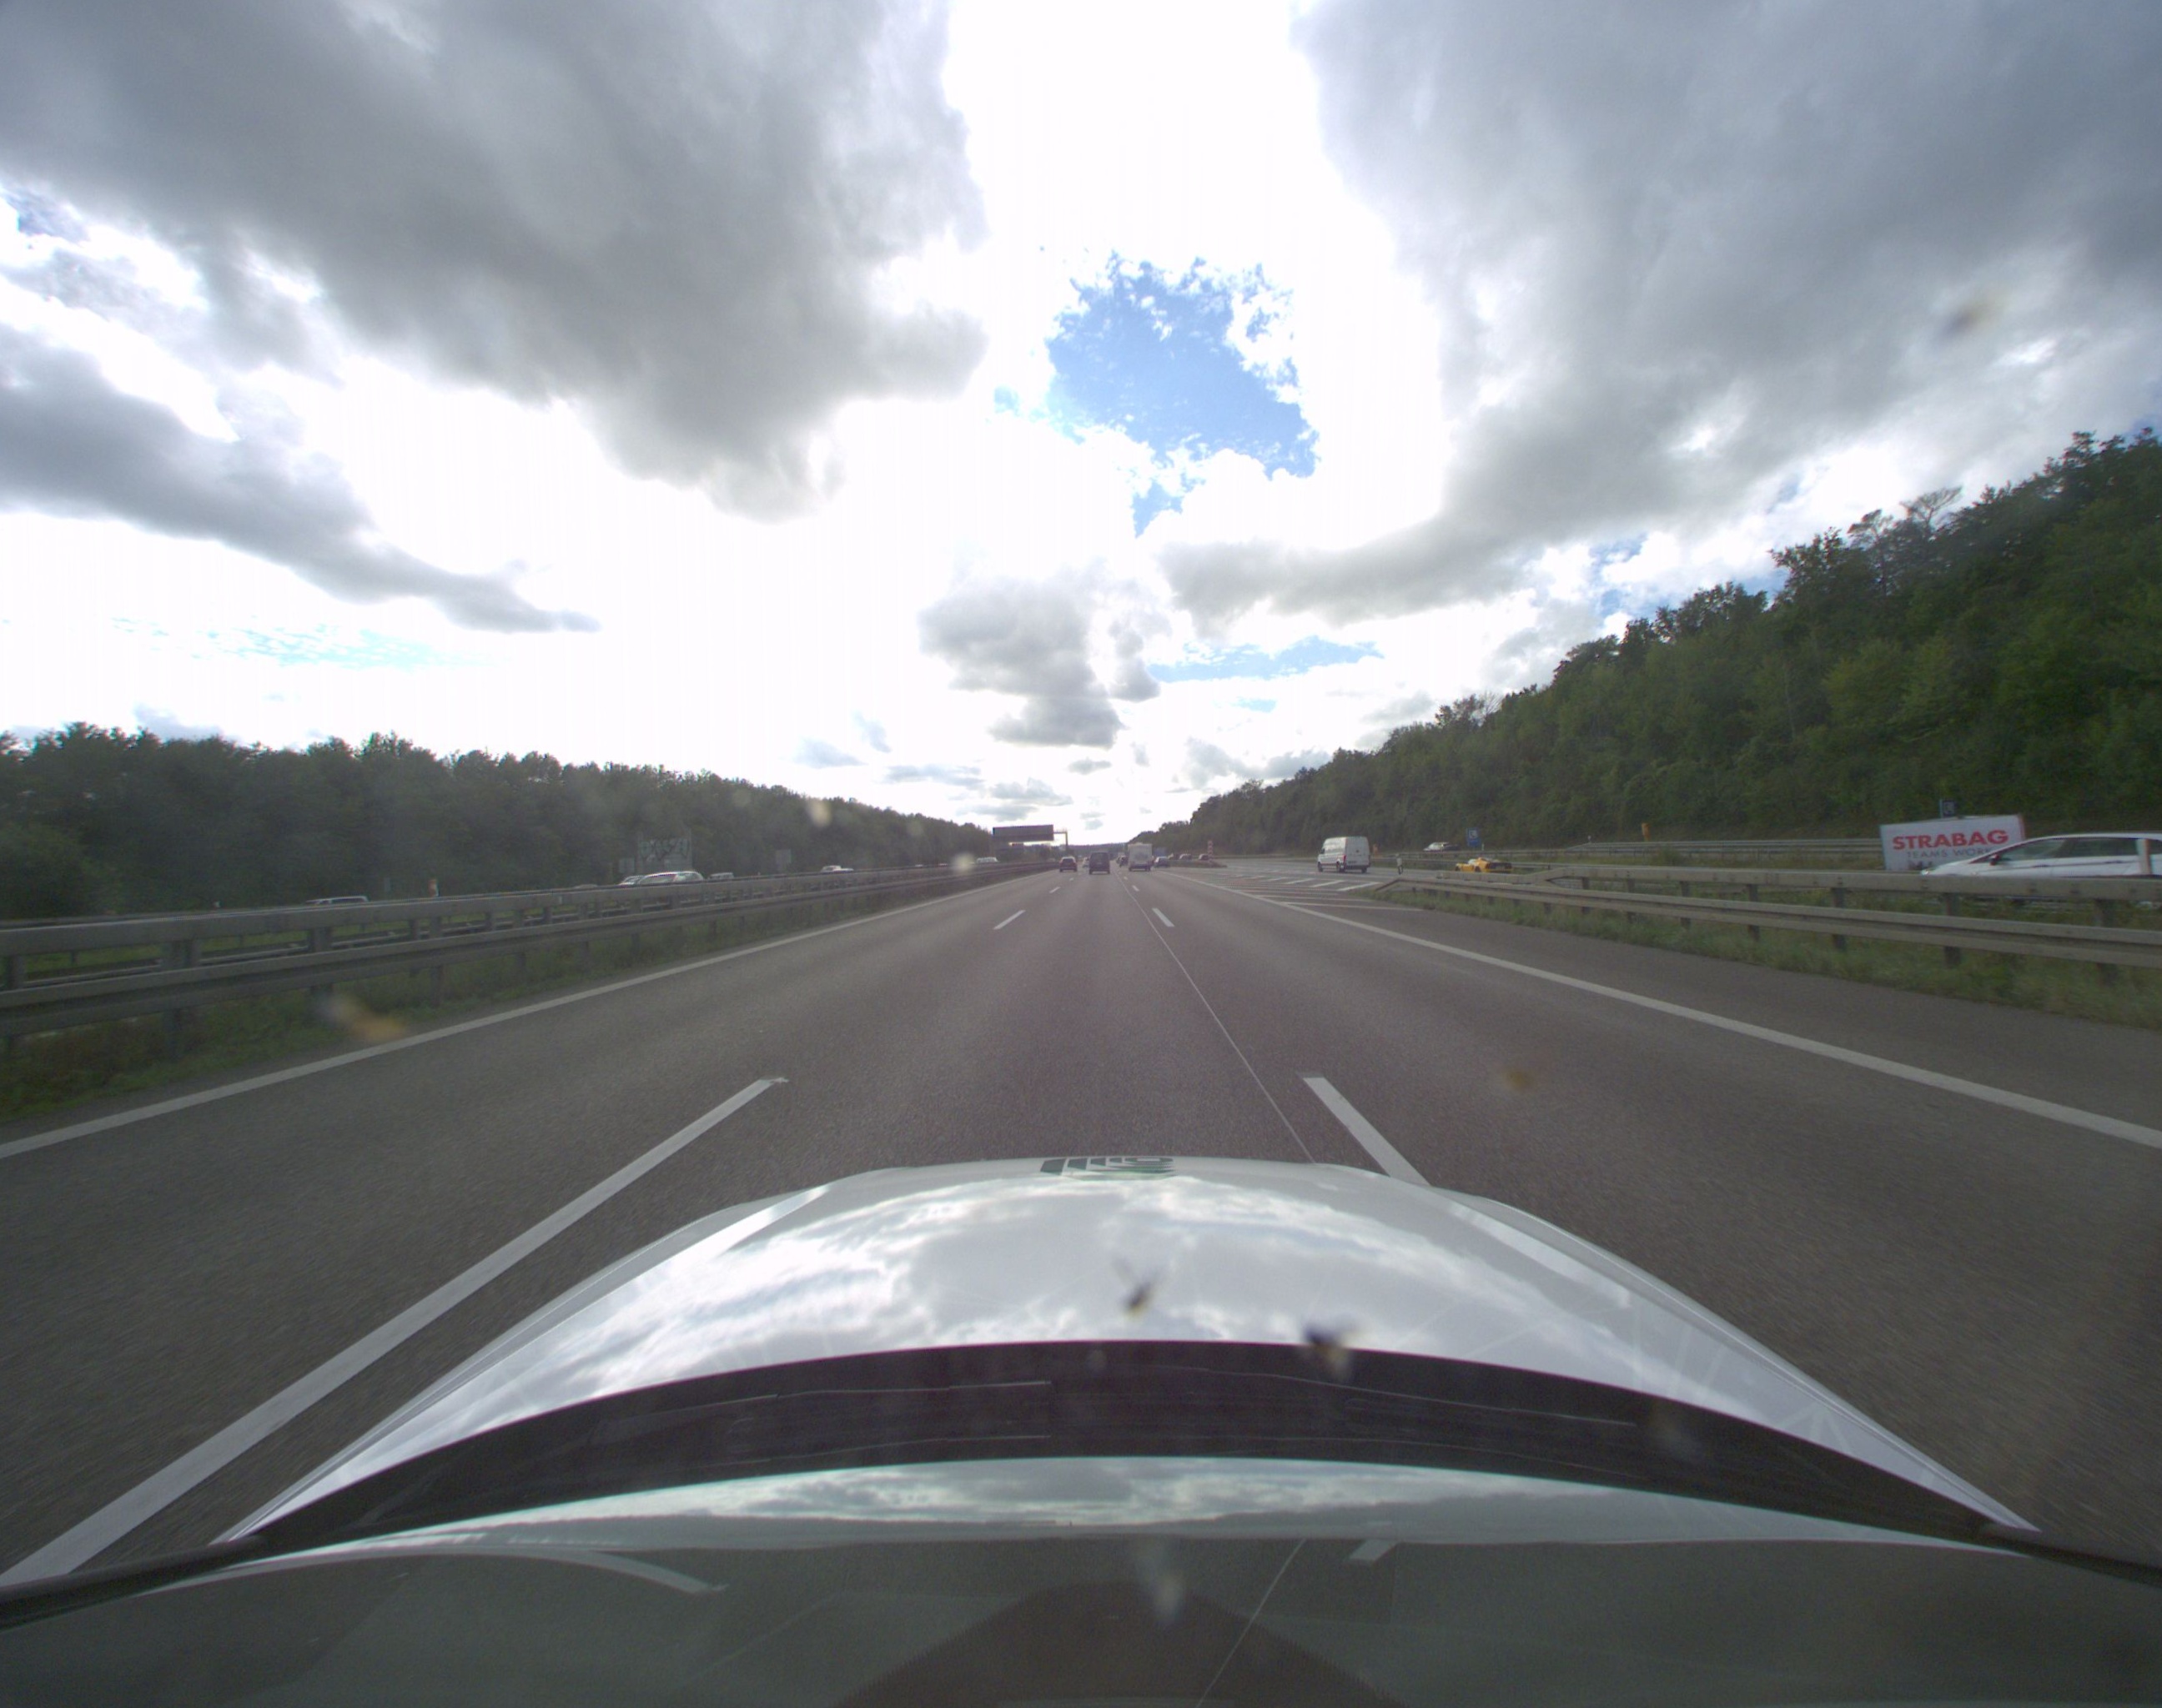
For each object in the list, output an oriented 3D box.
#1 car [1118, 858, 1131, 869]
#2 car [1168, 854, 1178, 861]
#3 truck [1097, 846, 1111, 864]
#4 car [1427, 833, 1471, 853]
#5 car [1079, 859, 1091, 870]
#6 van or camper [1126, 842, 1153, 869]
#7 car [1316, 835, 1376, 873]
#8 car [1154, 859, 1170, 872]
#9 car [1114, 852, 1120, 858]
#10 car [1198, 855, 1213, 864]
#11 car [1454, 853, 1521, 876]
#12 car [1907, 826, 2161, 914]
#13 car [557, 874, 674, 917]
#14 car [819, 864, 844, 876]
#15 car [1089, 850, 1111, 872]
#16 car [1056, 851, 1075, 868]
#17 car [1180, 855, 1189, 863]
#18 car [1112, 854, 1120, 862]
[{"bbox_3d":[6.388,1.426,120.643,1.691,1.564,4.114,-2,-1,1],"label":"car"},{"bbox_3d":[23.303,0.870,206.635,1.837,1.484,4.525,-4,0,0],"label":"car"},{"bbox_3d":[6.016,0.325,210.392,3.250,4.375,11.031,-1,0,2],"label":"truck"},{"bbox_3d":[33.845,-0.982,75.041,1.837,1.602,4.764,-4,0,0],"label":"car"},{"bbox_3d":[0.653,1.599,123.428,1.691,1.611,4.114,-2,-1,1],"label":"car"},{"bbox_3d":[6.113,0.202,86.423,2.460,2.722,7.663,-1,0,1],"label":"van or camper"},{"bbox_3d":[19.549,0.013,60.420,2.064,2.554,6.740,-3,0,-1],"label":"car"},{"bbox_3d":[10.706,1.491,107.845,1.691,1.611,3.896,-2,-1,1],"label":"car"},{"bbox_3d":[11.019,0.188,248.868,1.746,1.695,4.191,-2,-1,1],"label":"car"},{"bbox_3d":[21.164,0.954,138.624,1.836,1.484,4.527,-4,0,1],"label":"car"},{"bbox_3d":[22.747,0.557,45.734,1.706,1.182,4.169,-1,0,1],"label":"car"},{"bbox_3d":[18.891,0.262,15.268,1.684,1.485,4.597,-1,0,-11],"label":"car"},{"bbox_3d":[-15.552,1.330,27.458,1.519,1.219,4.115,-1,0,1],"label":"car"},{"bbox_3d":[-34.572,2.209,113.056,1.764,1.577,5.012,-2,0,1],"label":"car"},{"bbox_3d":[1.708,0.619,73.034,1.848,1.910,4.260,-2,0,1],"label":"car"},{"bbox_3d":[-1.634,0.590,88.316,1.866,1.698,4.073,-2,-1,1],"label":"car"},{"bbox_3d":[21.743,1.061,170.981,1.535,1.484,3.943,-4,0,1],"label":"car"},{"bbox_3d":[8.450,0.997,198.243,1.906,1.919,4.031,-2,0,1],"label":"car"}]
